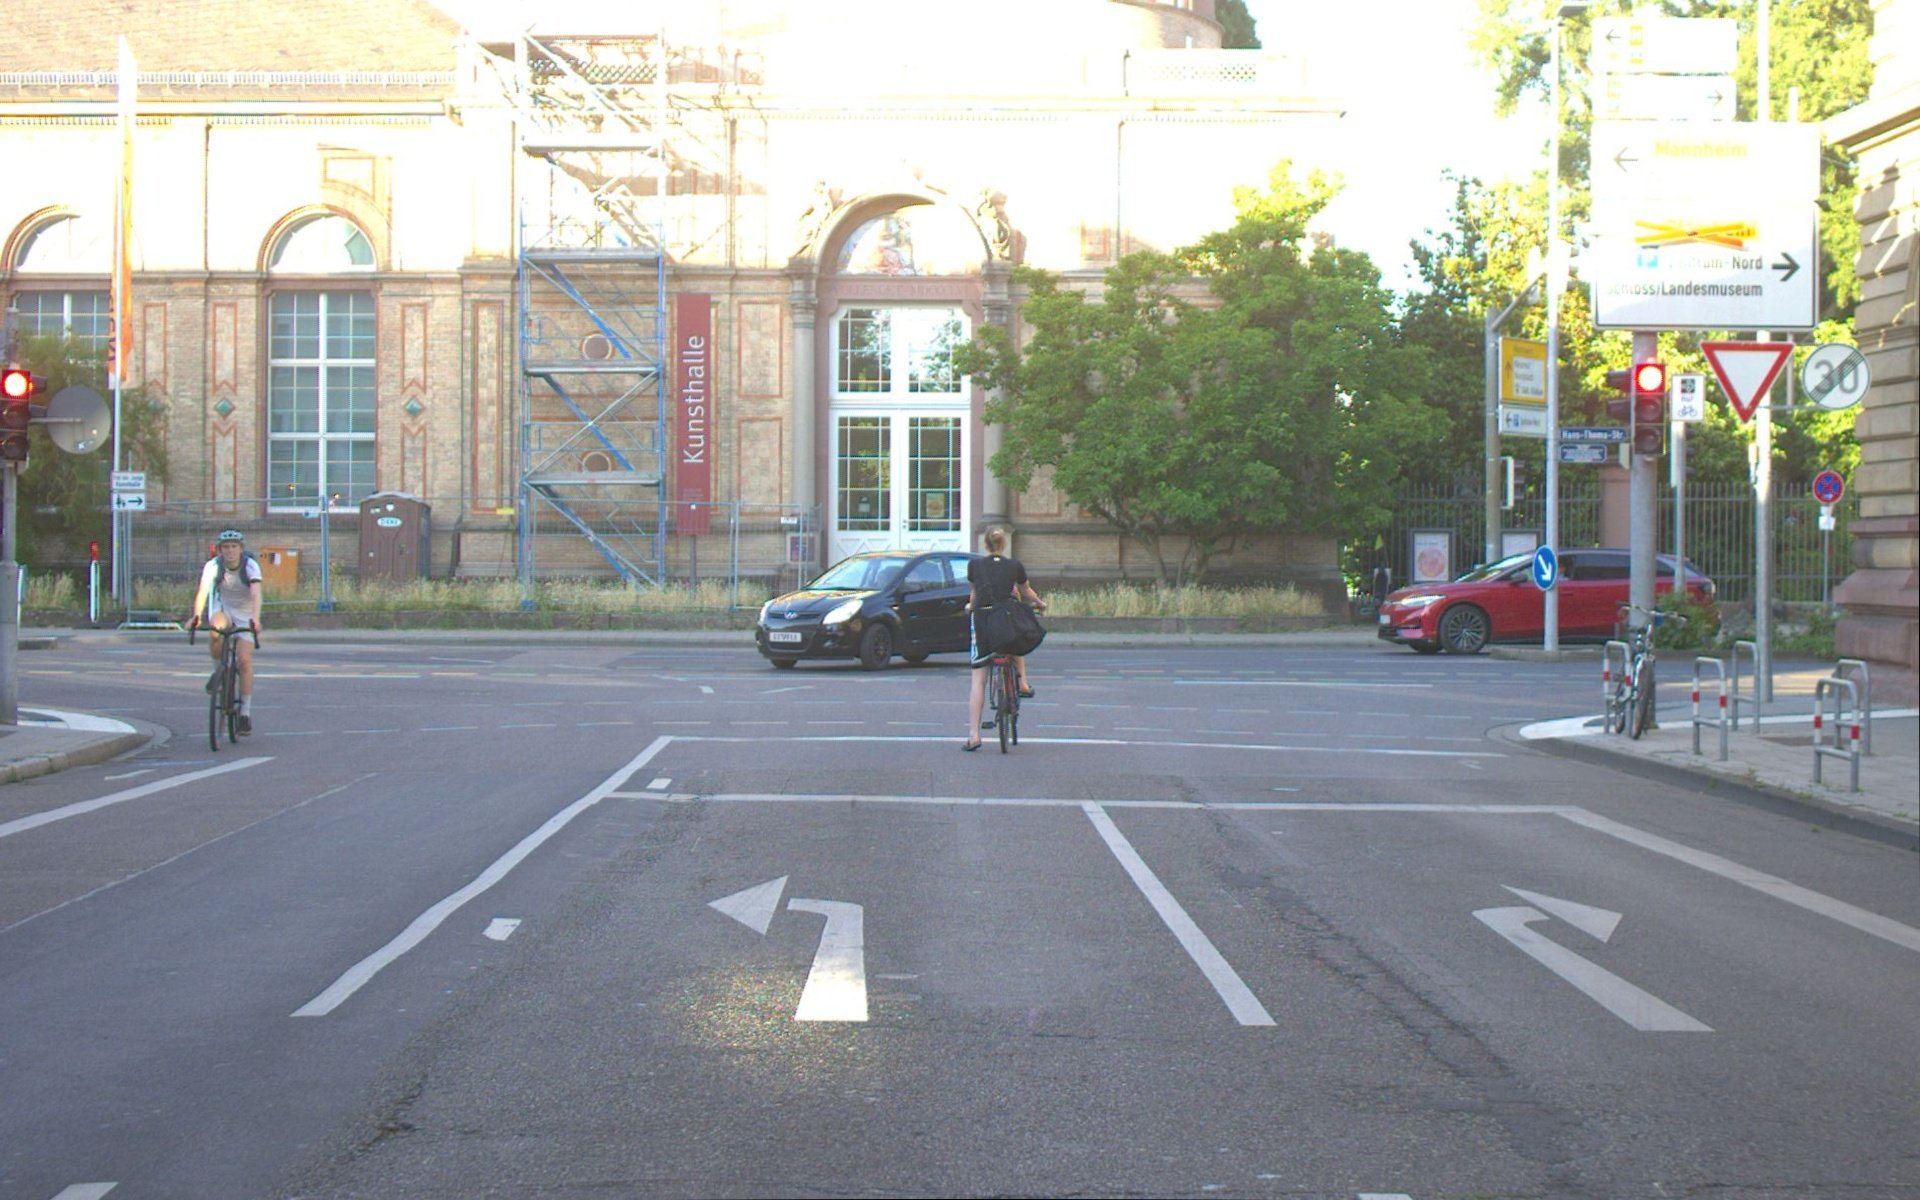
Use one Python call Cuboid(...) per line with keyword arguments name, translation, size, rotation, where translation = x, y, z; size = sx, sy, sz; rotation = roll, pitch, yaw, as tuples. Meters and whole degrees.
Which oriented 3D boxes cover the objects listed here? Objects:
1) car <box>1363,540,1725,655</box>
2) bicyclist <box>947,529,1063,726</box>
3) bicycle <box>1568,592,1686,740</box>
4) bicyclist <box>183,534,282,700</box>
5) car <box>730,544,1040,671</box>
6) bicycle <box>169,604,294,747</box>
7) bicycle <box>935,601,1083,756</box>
Cuboid(name="car", translation=(8.452, -0.058, 49.896), size=(4.830, 1.540, 1.837), rotation=(-1, 1, -10))
Cuboid(name="bicyclist", translation=(0.353, 0.214, 26.643), size=(0.716, 1.497, 0.850), rotation=(0, -1, 14))
Cuboid(name="bicycle", translation=(5.494, 0.537, 28.404), size=(0.582, 1.184, 1.920), rotation=(0, -1, -1))
Cuboid(name="bicyclist", translation=(-6.073, 0.144, 28.738), size=(0.625, 1.360, 0.929), rotation=(0, -1, -1))
Cuboid(name="car", translation=(-0.914, 0.055, 43.542), size=(1.662, 1.466, 3.844), rotation=(1, 2, 45))
Cuboid(name="bicycle", translation=(-6.068, 0.619, 28.733), size=(0.625, 1.152, 2.052), rotation=(0, -1, -1))
Cuboid(name="bicycle", translation=(0.401, 0.599, 26.817), size=(0.712, 1.152, 2.067), rotation=(0, -1, 14))
